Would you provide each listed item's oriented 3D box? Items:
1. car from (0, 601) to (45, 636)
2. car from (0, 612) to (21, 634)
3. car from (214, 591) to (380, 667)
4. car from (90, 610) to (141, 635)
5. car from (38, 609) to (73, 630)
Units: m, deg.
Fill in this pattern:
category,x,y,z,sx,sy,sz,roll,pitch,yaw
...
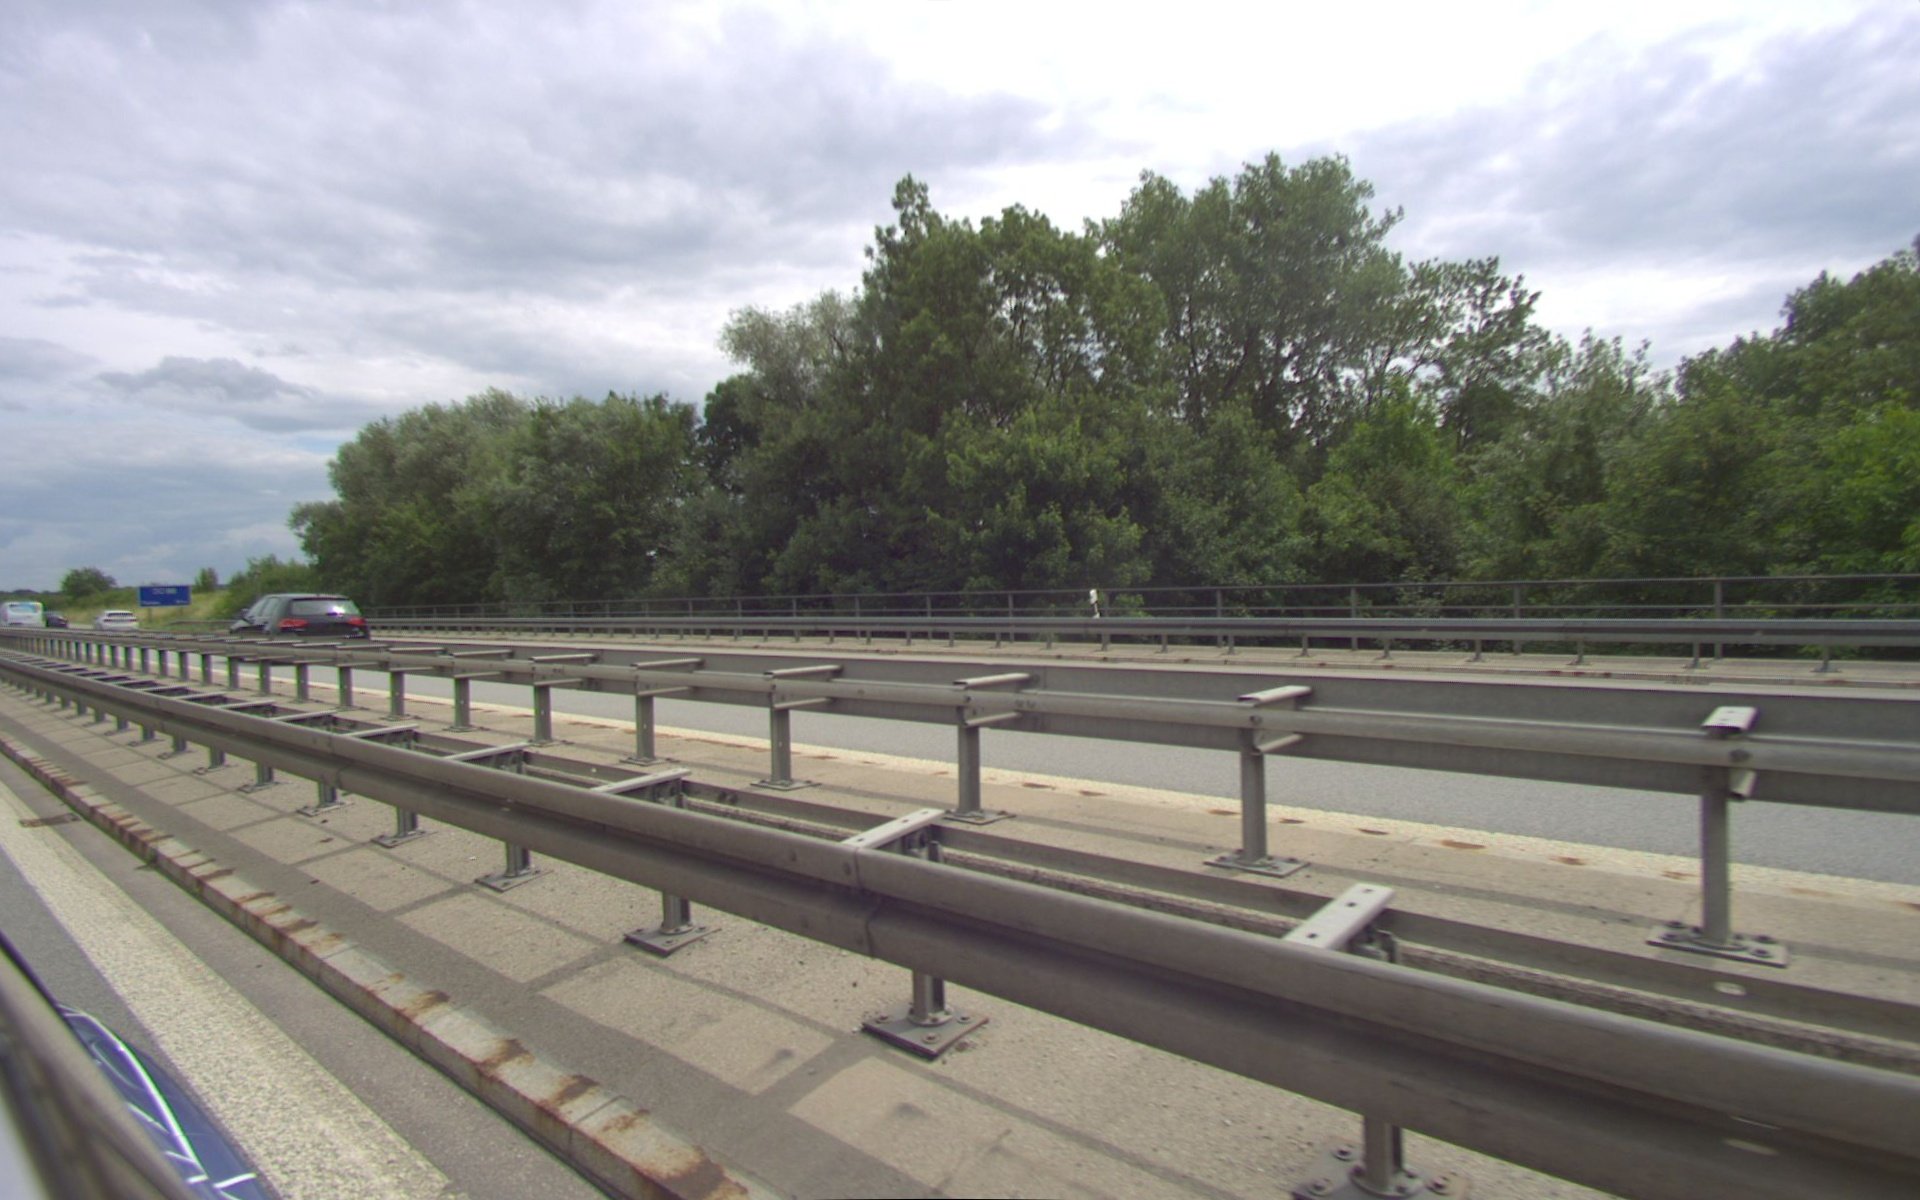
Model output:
category,x,y,z,sx,sy,sz,roll,pitch,yaw
car,-56.513,1.114,60.681,4.711,1.925,1.754,-1,2,40
car,-74.427,1.779,78.504,4.945,1.624,1.826,-1,1,42
car,-13.770,0.565,20.916,4.355,1.386,1.669,-1,0,40
car,-50.533,1.334,60.527,3.935,1.449,1.826,-1,0,42
car,-71.360,1.565,79.830,4.332,1.571,1.710,-1,0,43
